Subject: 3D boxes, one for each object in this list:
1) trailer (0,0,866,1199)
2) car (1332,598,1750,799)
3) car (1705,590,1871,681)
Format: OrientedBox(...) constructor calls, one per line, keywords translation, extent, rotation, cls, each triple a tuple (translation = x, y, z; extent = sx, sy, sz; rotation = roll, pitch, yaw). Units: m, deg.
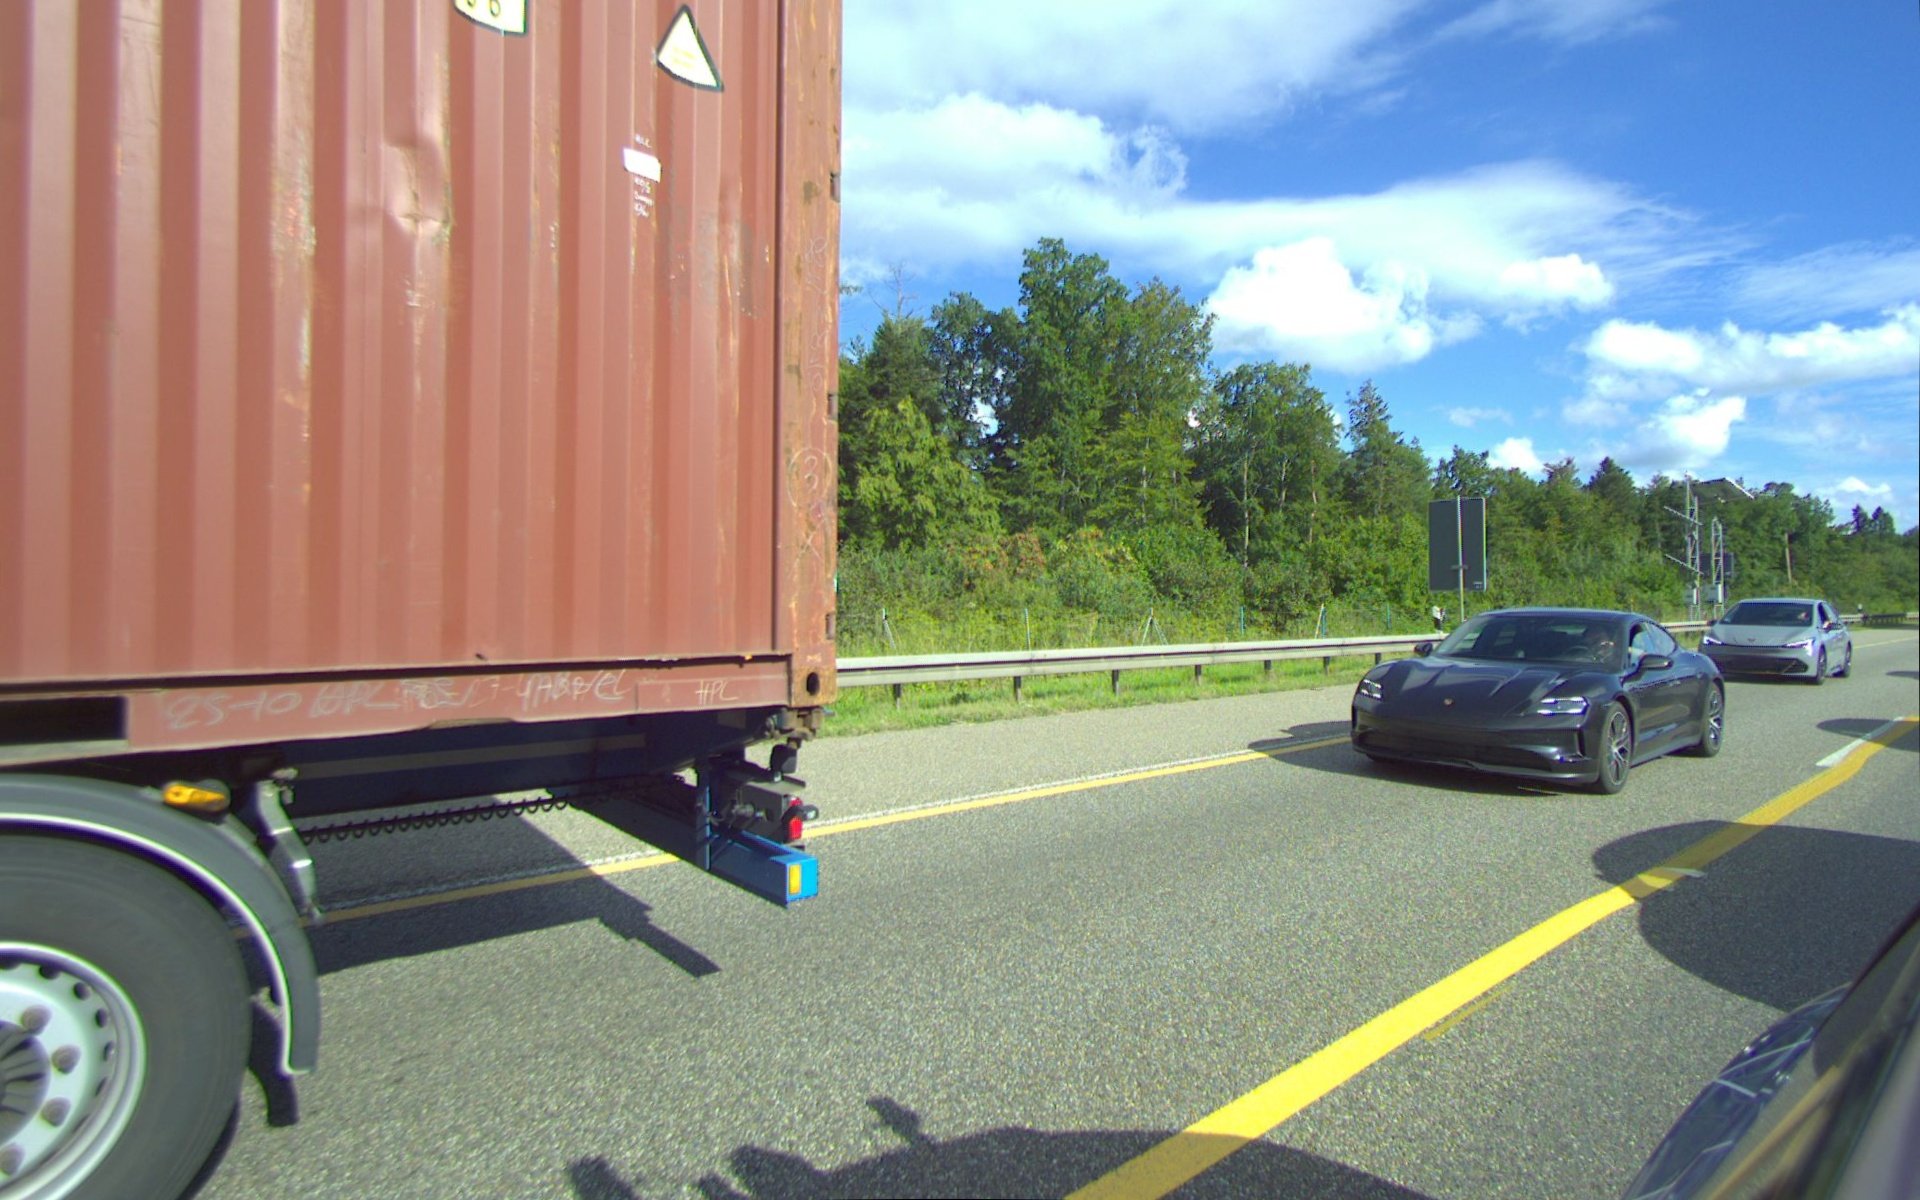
OrientedBox(translation=(-5.557, -0.524, 0.234), extent=(11.926, 3.822, 2.475), rotation=(0, 0, -42), cls="trailer")
OrientedBox(translation=(5.387, 0.671, 9.136), extent=(4.399, 1.367, 1.932), rotation=(0, 0, -41), cls="car")
OrientedBox(translation=(15.609, 0.578, 19.024), extent=(3.898, 1.498, 1.761), rotation=(-1, 1, -41), cls="car")
